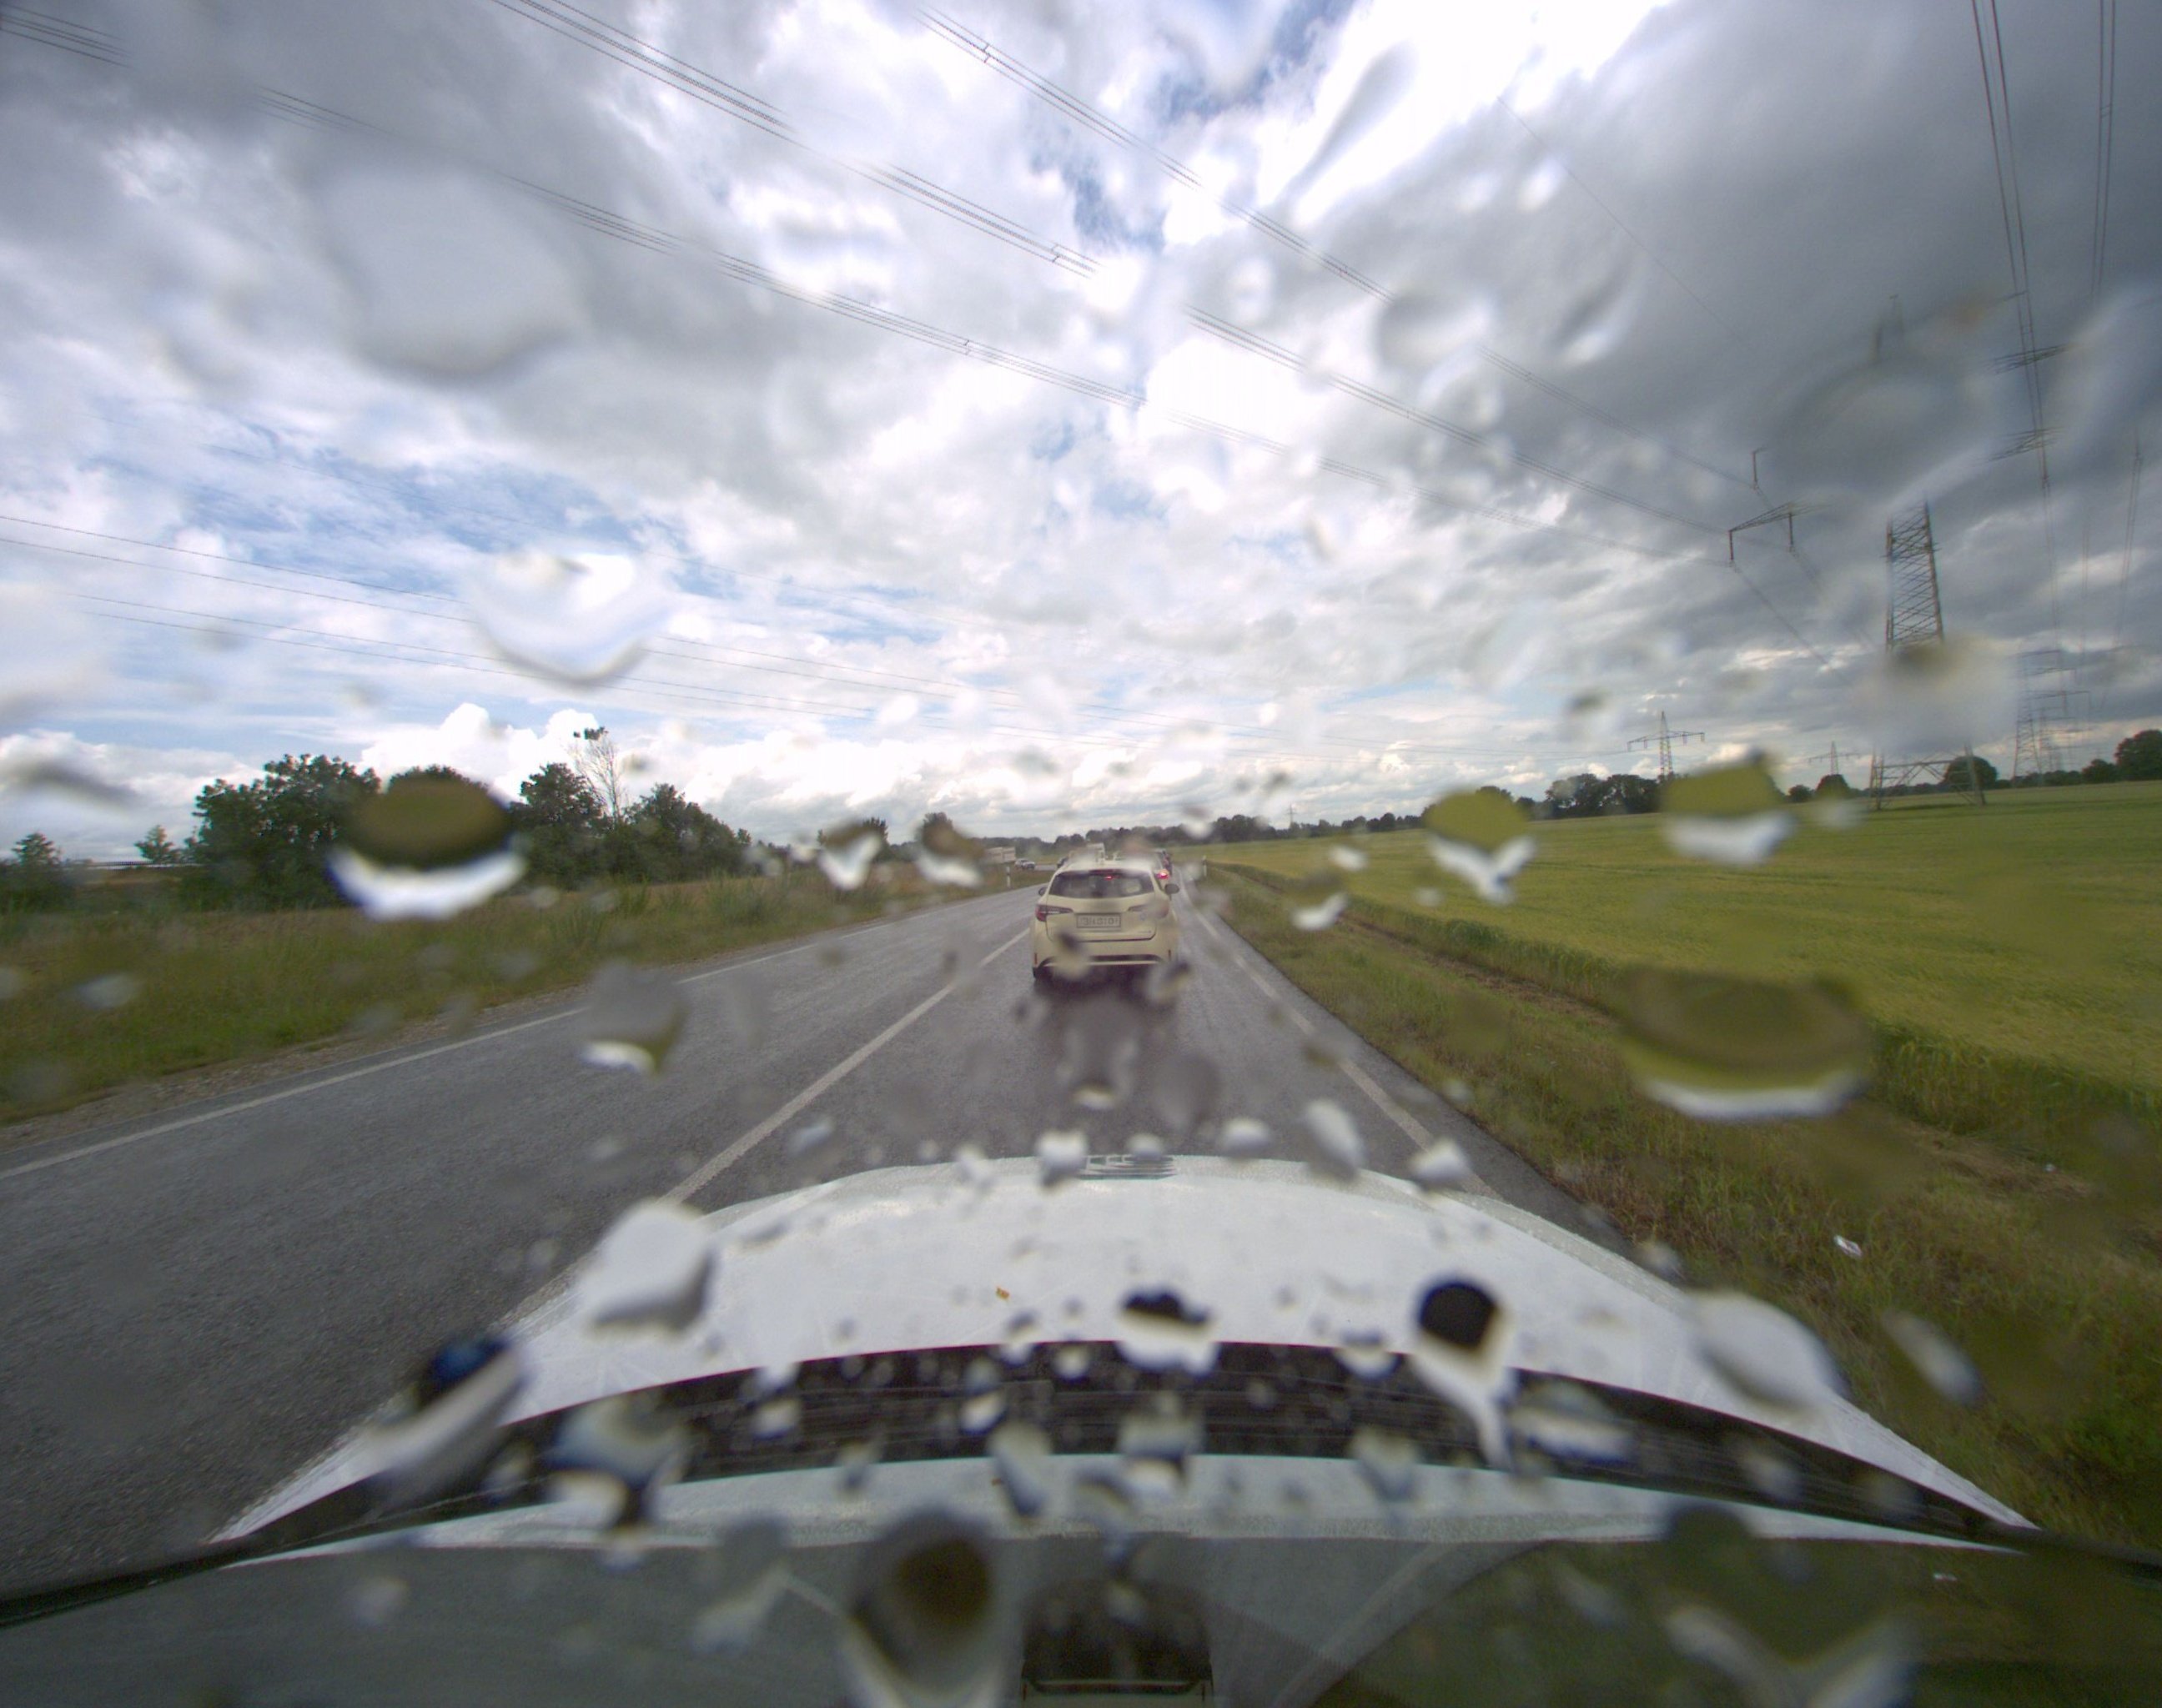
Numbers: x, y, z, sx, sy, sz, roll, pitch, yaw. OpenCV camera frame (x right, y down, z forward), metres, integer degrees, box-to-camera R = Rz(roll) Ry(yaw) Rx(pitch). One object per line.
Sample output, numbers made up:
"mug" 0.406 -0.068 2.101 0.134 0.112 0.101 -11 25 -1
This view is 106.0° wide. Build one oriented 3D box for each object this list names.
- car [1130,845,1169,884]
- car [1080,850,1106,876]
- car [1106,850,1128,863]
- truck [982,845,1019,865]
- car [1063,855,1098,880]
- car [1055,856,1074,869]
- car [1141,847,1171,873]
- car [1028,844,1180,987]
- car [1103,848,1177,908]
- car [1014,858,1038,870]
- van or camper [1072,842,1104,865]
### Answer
"car" 3.114 0.484 36.413 1.605 1.659 3.744 -1 -1 6
"car" 0.946 0.692 61.909 1.836 1.855 4.450 -1 -1 3
"car" 4.001 0.324 91.503 1.782 1.413 3.728 -1 -1 -8
"truck" -13.961 0.221 140.582 3.034 3.209 8.148 0 -2 -32
"car" 0.032 0.758 48.281 1.836 1.388 4.290 -1 -1 3
"car" -2.033 1.055 99.734 1.848 1.448 4.078 -3 0 -9
"car" 4.291 0.366 46.691 1.605 1.413 3.743 -1 -1 5
"car" 0.470 0.722 10.849 1.604 1.562 3.746 -1 -1 8
"car" 1.660 0.624 22.903 1.833 1.492 4.613 -1 0 4
"car" -8.181 1.544 120.668 1.937 1.631 4.682 -2 0 -24
"van or camper" 0.894 -0.011 108.654 2.541 2.896 6.708 -1 0 -15
